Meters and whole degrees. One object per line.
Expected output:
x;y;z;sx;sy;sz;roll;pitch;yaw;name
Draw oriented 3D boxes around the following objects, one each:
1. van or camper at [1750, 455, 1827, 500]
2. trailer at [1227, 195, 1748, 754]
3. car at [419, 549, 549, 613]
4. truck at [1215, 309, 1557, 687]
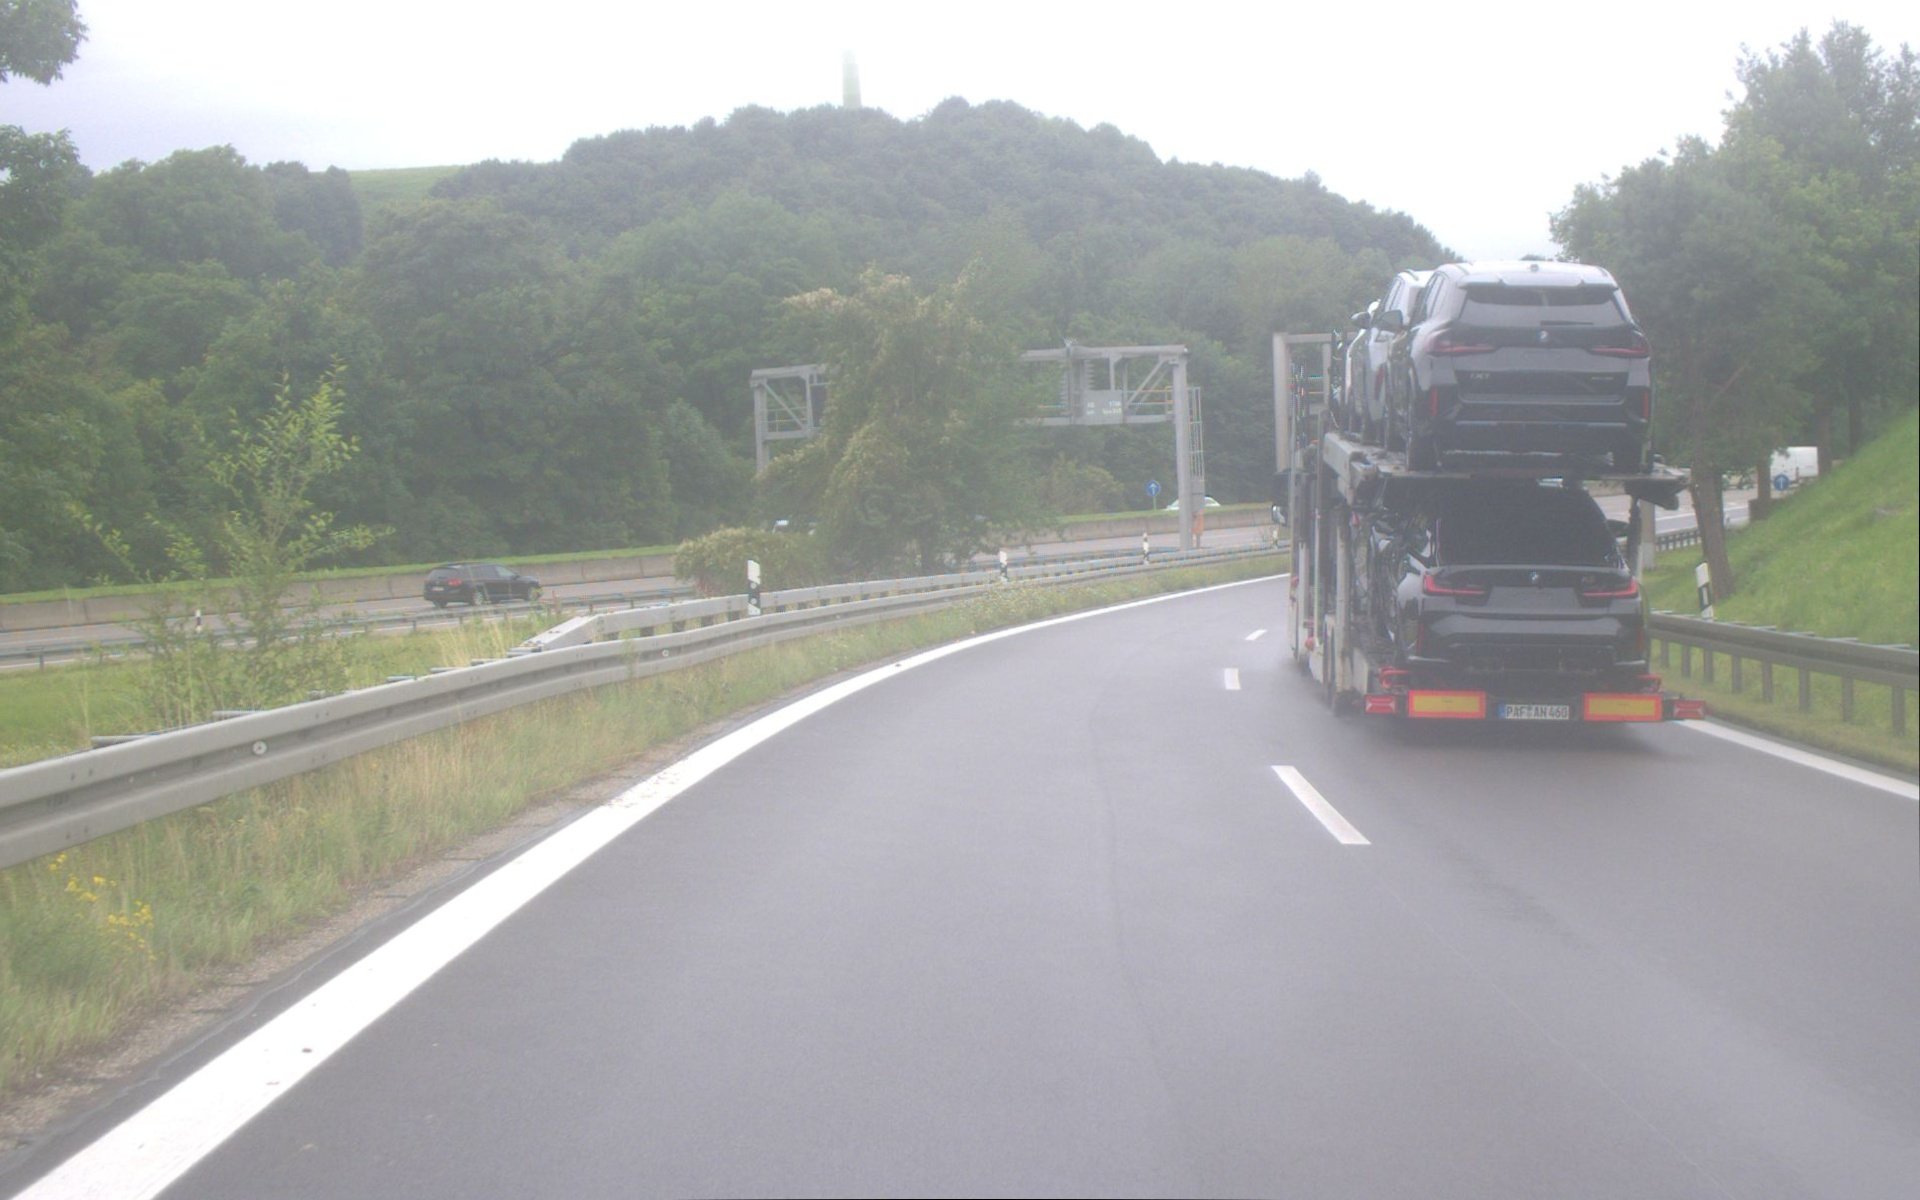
37.492;-5.535;155.558;1.997;2.007;4.577;0;1;33;van or camper
4.295;-1.012;31.037;3.449;3.986;12.026;1;1;3;trailer
-16.021;-0.650;115.776;1.997;1.711;3.993;-5;2;35;car
4.982;-1.186;42.427;3.395;3.986;10.846;1;1;3;truck
